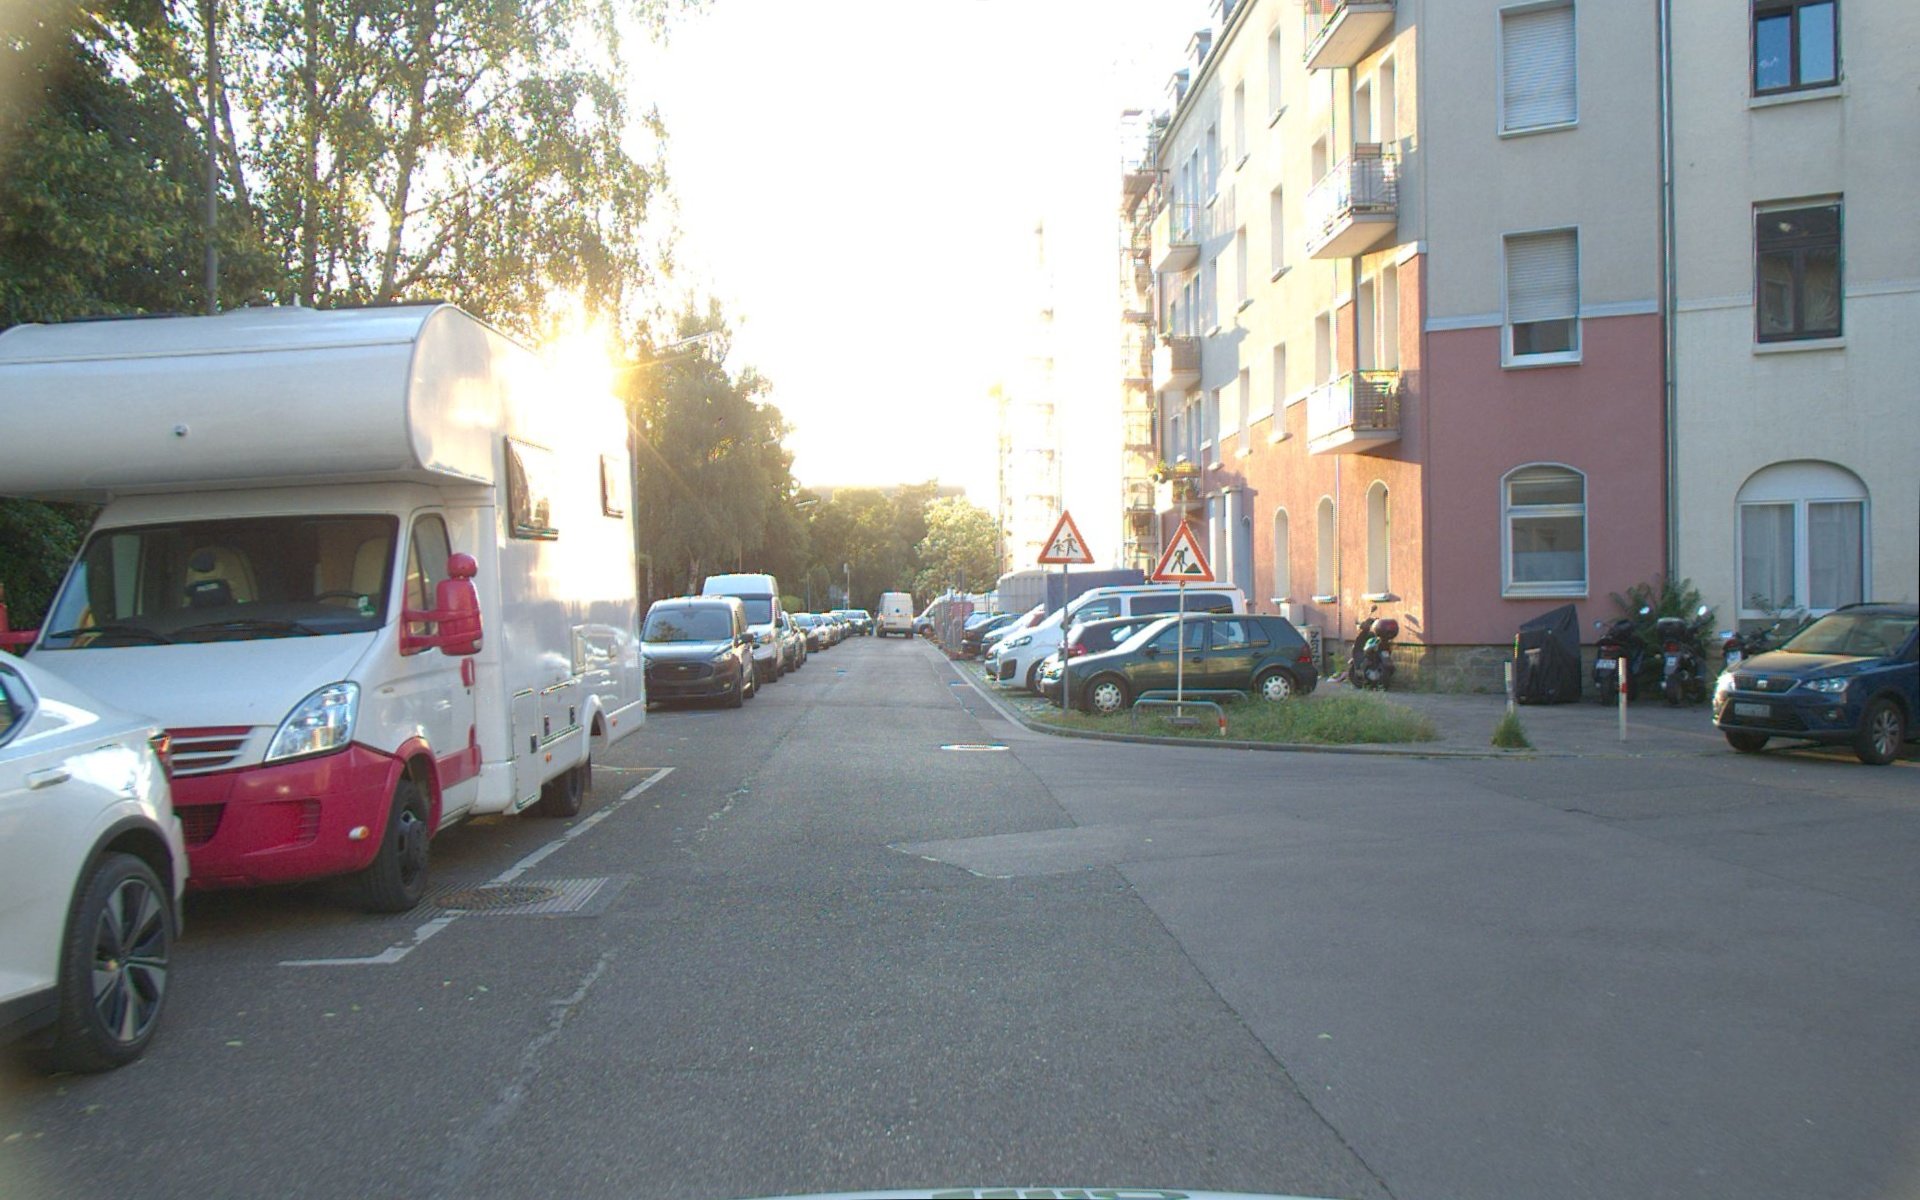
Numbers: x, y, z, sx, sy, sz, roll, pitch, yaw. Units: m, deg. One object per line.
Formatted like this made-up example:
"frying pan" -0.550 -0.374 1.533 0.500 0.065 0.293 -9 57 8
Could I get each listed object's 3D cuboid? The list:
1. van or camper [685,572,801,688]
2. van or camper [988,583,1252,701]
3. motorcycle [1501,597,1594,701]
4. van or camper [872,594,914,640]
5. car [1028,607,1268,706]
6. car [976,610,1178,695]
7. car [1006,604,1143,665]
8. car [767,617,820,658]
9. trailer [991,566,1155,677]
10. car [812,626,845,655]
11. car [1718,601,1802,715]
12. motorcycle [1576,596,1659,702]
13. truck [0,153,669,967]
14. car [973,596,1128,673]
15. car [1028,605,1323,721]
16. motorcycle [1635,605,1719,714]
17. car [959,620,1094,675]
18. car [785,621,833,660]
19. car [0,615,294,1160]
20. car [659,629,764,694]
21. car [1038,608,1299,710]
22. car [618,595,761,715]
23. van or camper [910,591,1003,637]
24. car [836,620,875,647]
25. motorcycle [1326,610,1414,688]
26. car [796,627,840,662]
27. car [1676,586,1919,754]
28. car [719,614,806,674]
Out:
"van or camper" -5.009 0.683 38.979 1.953 2.500 6.082 0 -1 0
"van or camper" 2.977 0.776 31.428 4.738 2.133 2.039 0 -1 -4
"motorcycle" 8.675 0.699 24.367 0.821 1.459 2.347 -1 -1 31
"van or camper" -4.014 1.028 99.455 2.404 2.591 6.080 2 -1 -2
"car" 3.247 0.971 29.138 3.908 1.646 1.998 0 -1 -5
"car" 2.353 1.073 34.128 3.908 1.669 1.998 0 -1 -5
"car" 3.174 0.965 46.296 3.620 1.639 1.743 0 -1 -5
"car" -6.292 1.406 62.738 1.955 1.478 3.995 0 -1 -5
"trailer" 2.618 0.508 38.862 3.498 2.378 1.938 -3 -1 -6
"car" -6.985 2.136 88.080 1.569 1.456 3.800 -3 -1 -4
"car" 11.109 0.765 22.919 0.828 1.482 2.771 -1 -1 30
"motorcycle" 9.575 0.688 24.039 0.728 1.459 2.347 -1 -1 31
"truck" -3.904 -0.108 11.091 2.474 3.412 8.015 -3 -1 -1
"car" 2.637 0.984 48.708 4.189 2.014 1.817 -3 0 -10
"car" 3.123 0.903 24.475 4.022 1.613 1.852 0 -1 -6
"motorcycle" 10.244 0.814 23.573 0.728 1.459 2.647 -1 -1 31
"car" 2.026 1.465 51.375 4.069 1.644 1.871 0 -1 -1
"car" -6.235 1.641 68.601 1.747 1.471 4.745 -3 -1 -3
"car" -3.609 0.841 4.258 1.868 1.502 4.907 -3 0 -2
"car" -4.944 1.199 33.184 1.956 1.210 4.029 0 -1 -8
"car" 3.336 0.936 27.011 3.908 1.557 1.998 0 -1 -5
"car" -4.506 0.877 28.228 1.872 1.819 4.945 -1 -1 -4
"van or camper" -0.226 0.912 105.781 5.811 2.818 2.108 1 -1 -4
"car" -6.596 2.109 104.465 1.766 1.597 4.567 -1 -1 5
"motorcycle" 6.940 0.814 28.133 0.727 1.257 2.652 0 -1 -2
"car" -6.593 2.047 77.045 1.823 1.565 4.755 -1 -1 -3
"car" 9.675 0.674 17.406 3.937 1.601 1.815 0 -1 -26
"car" -5.328 1.173 45.245 1.953 1.546 4.786 0 -1 -2
